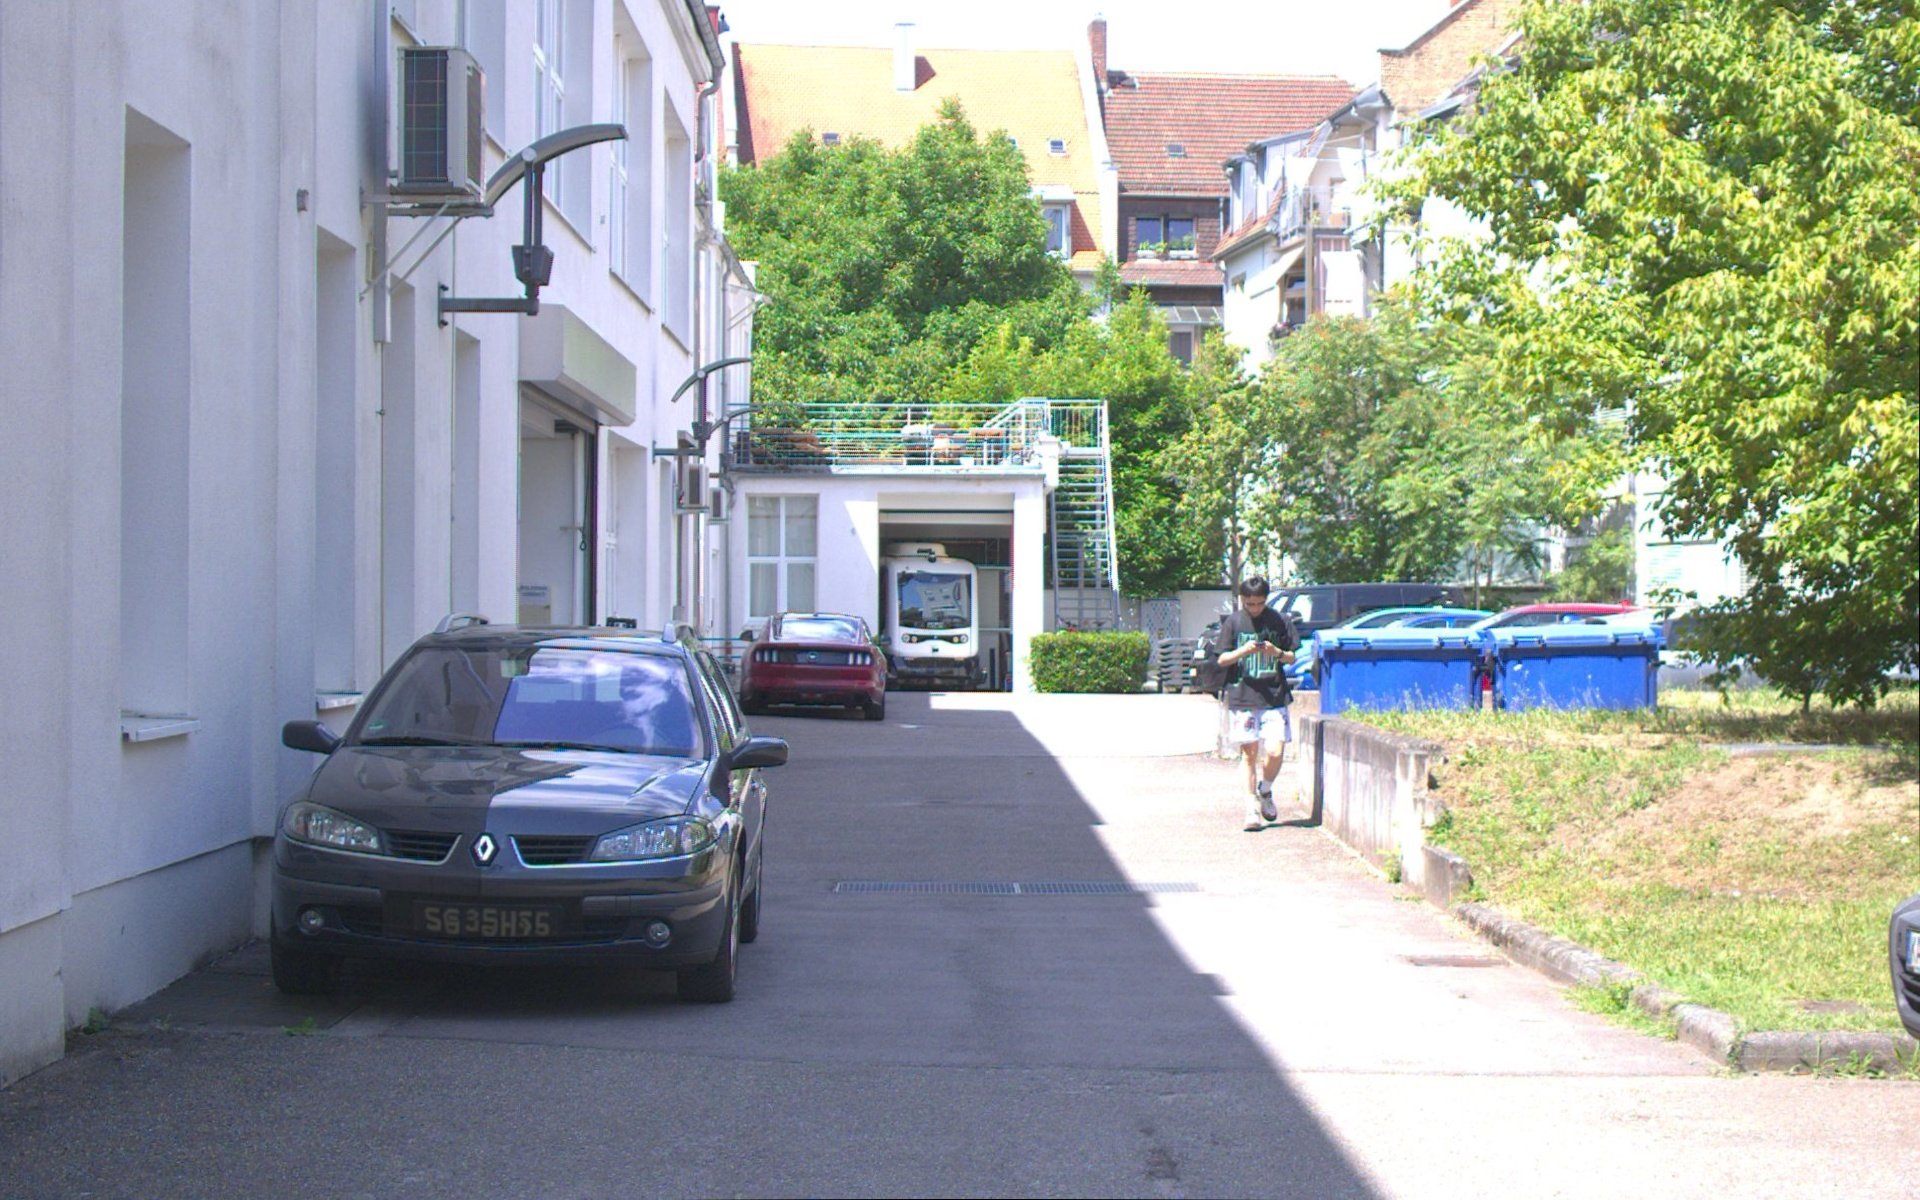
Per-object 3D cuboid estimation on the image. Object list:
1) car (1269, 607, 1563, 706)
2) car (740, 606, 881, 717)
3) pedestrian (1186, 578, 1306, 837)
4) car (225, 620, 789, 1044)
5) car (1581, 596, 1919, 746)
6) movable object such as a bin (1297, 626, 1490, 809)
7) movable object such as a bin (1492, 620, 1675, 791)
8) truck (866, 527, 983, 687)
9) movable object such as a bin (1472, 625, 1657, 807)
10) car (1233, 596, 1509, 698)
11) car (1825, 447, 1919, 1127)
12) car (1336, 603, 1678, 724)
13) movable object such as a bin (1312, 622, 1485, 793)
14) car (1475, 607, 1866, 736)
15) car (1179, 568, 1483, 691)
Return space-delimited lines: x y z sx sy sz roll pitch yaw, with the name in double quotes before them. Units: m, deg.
"car" 6.612 0.812 50.118 3.986 1.385 1.804 0 0 -2
"car" -1.968 0.796 46.064 1.798 1.385 4.000 0 0 -1
"pedestrian" 1.964 0.724 23.671 0.757 1.749 0.751 0 0 0
"car" -1.720 0.837 14.402 1.754 1.425 4.386 0 1 0
"car" 8.537 0.705 35.184 3.986 1.473 1.804 0 0 -2
"movable object such as a bin" 3.246 0.870 25.894 1.339 1.322 1.160 0 0 2
"movable object such as a bin" 4.995 0.835 27.605 1.216 1.322 1.160 0 0 -2
"truck" -0.714 0.127 65.172 1.787 2.927 4.654 0 0 -6
"movable object such as a bin" 4.542 0.858 25.923 1.216 1.322 1.160 0 0 2
"car" 6.311 0.708 53.096 3.986 1.529 1.804 0 0 -2
"car" 5.216 0.564 10.242 4.759 2.007 2.000 0 0 -1
"car" 6.878 0.787 43.479 3.986 1.473 1.804 0 0 -2
"movable object such as a bin" 3.510 0.848 27.639 1.192 1.322 1.160 0 0 -2
"car" 7.950 0.787 38.695 3.986 1.385 1.804 0 0 -2
"car" 6.017 0.468 56.135 4.677 1.951 2.077 0 0 -2
